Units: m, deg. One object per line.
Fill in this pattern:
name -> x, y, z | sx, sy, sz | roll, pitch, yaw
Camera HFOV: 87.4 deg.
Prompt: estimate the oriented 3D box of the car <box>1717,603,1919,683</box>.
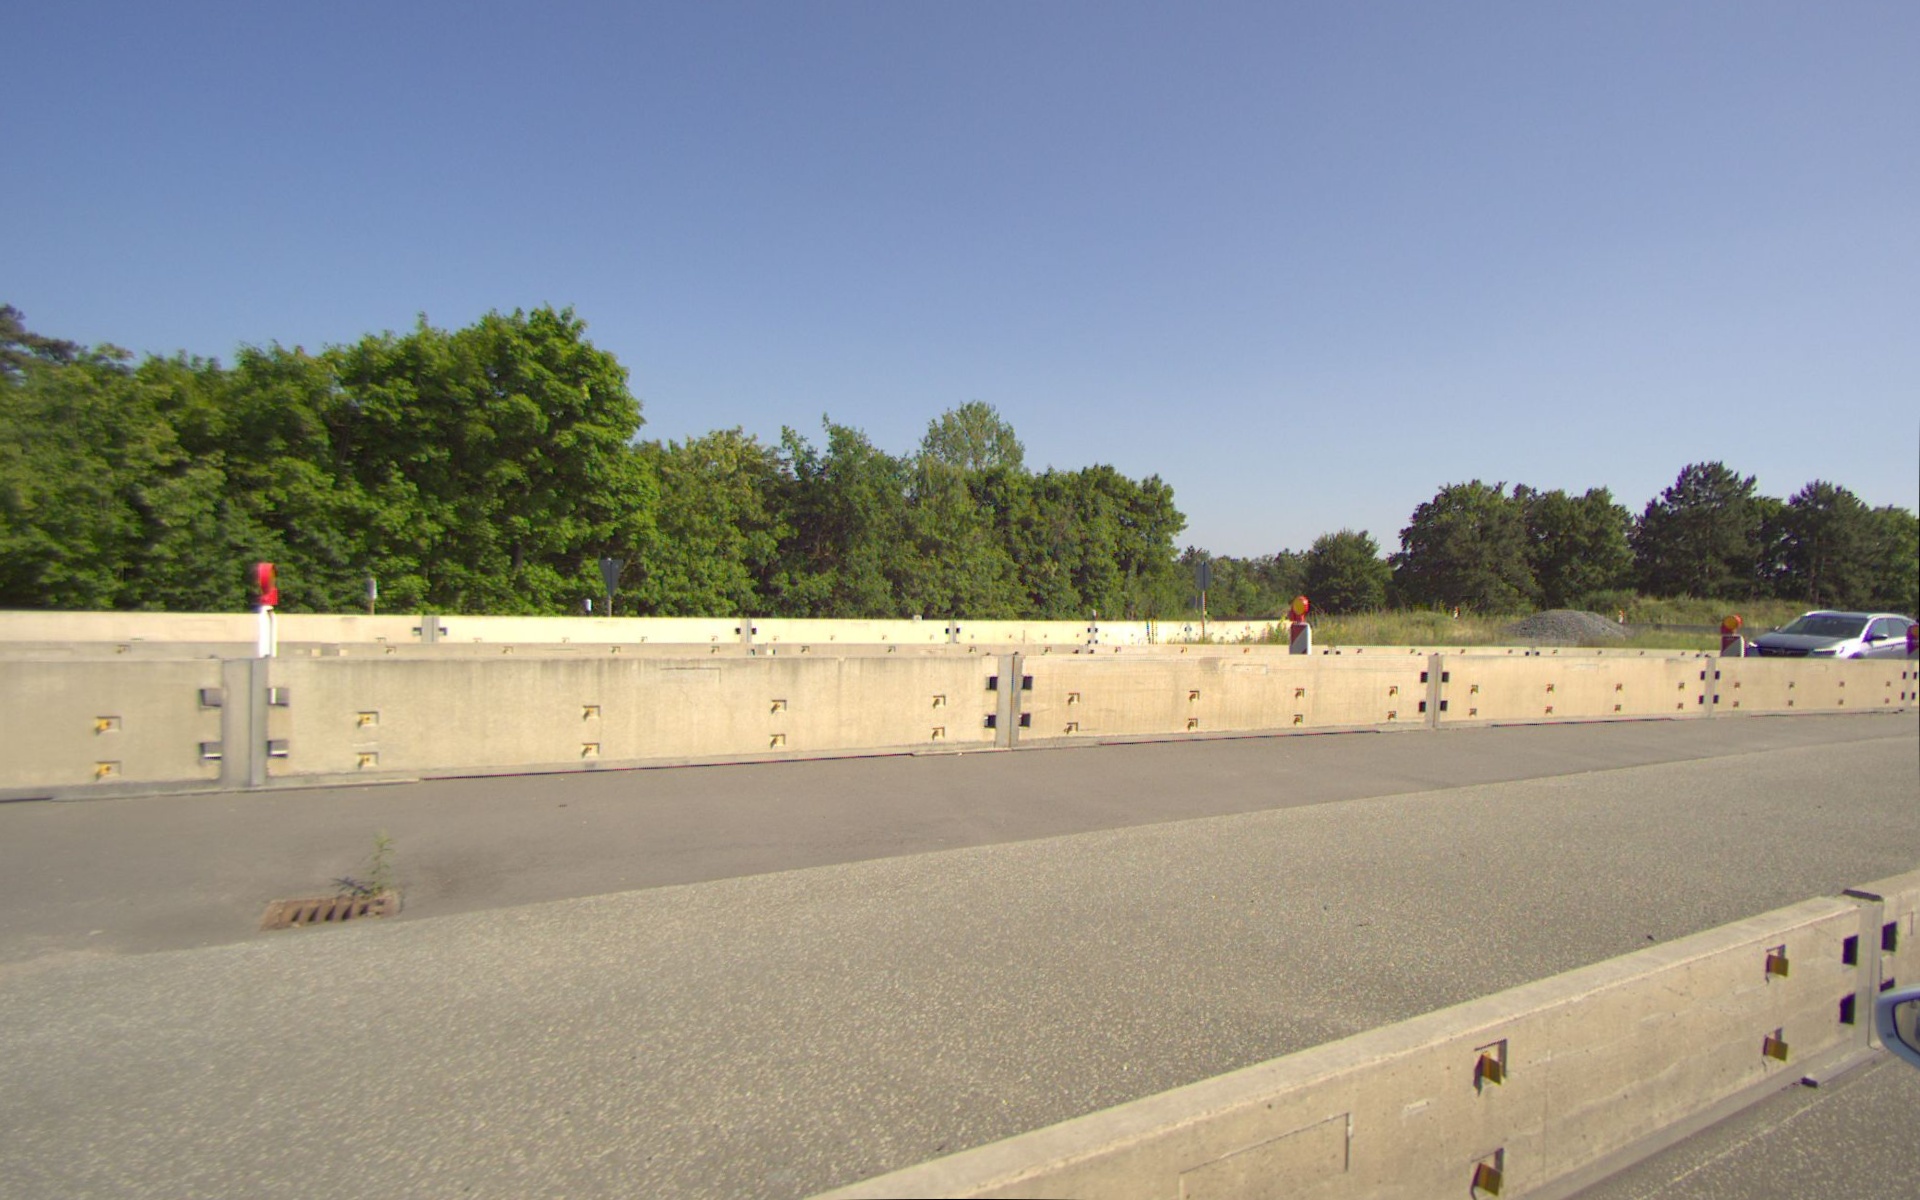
car -> 18.670, 0.896, 21.467 | 4.515, 1.536, 1.989 | 1, 1, -23
